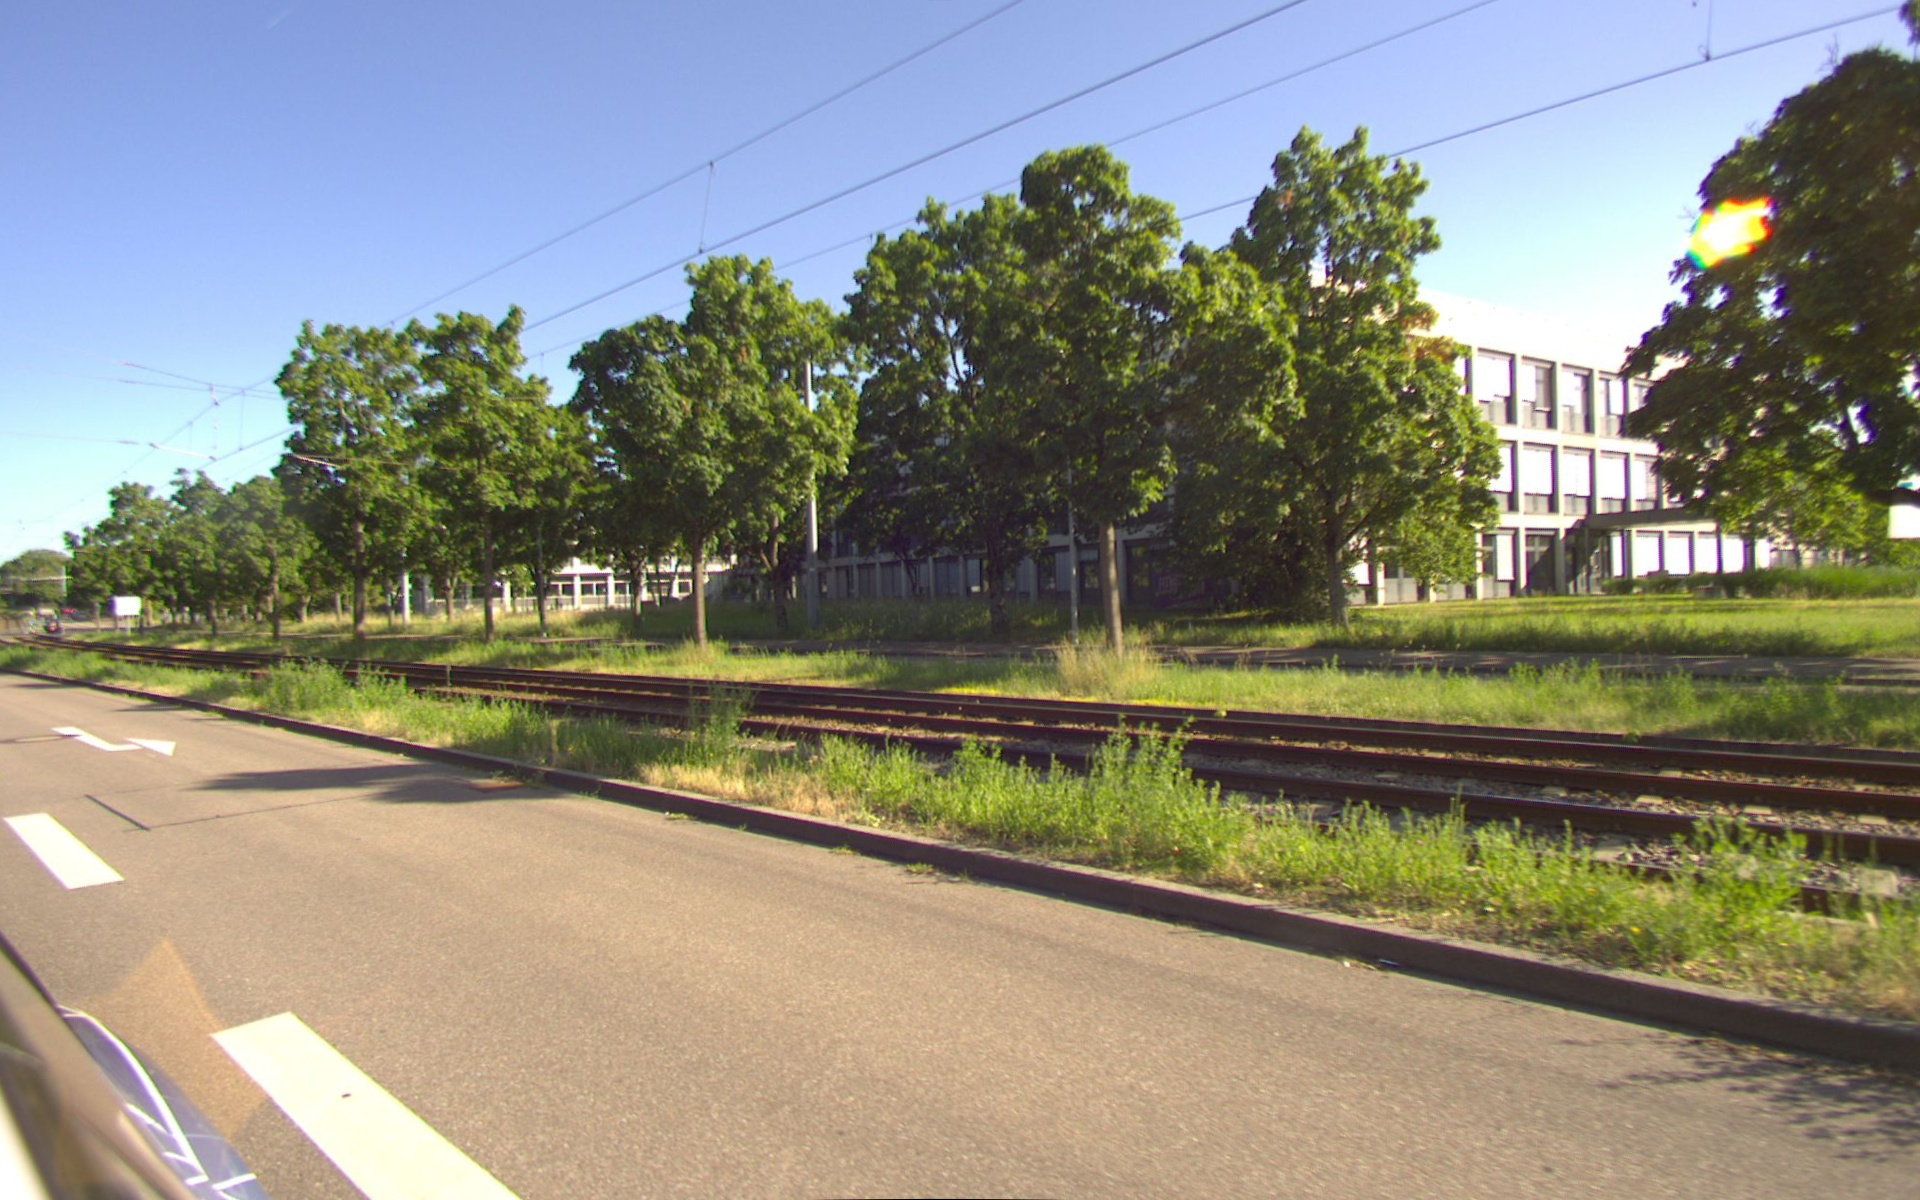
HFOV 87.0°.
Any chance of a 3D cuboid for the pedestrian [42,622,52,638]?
[{"bbox_3d":[-103.640,3.447,114.881,0.782,1.765,0.775,-2,0,44],"label":"pedestrian"}]
